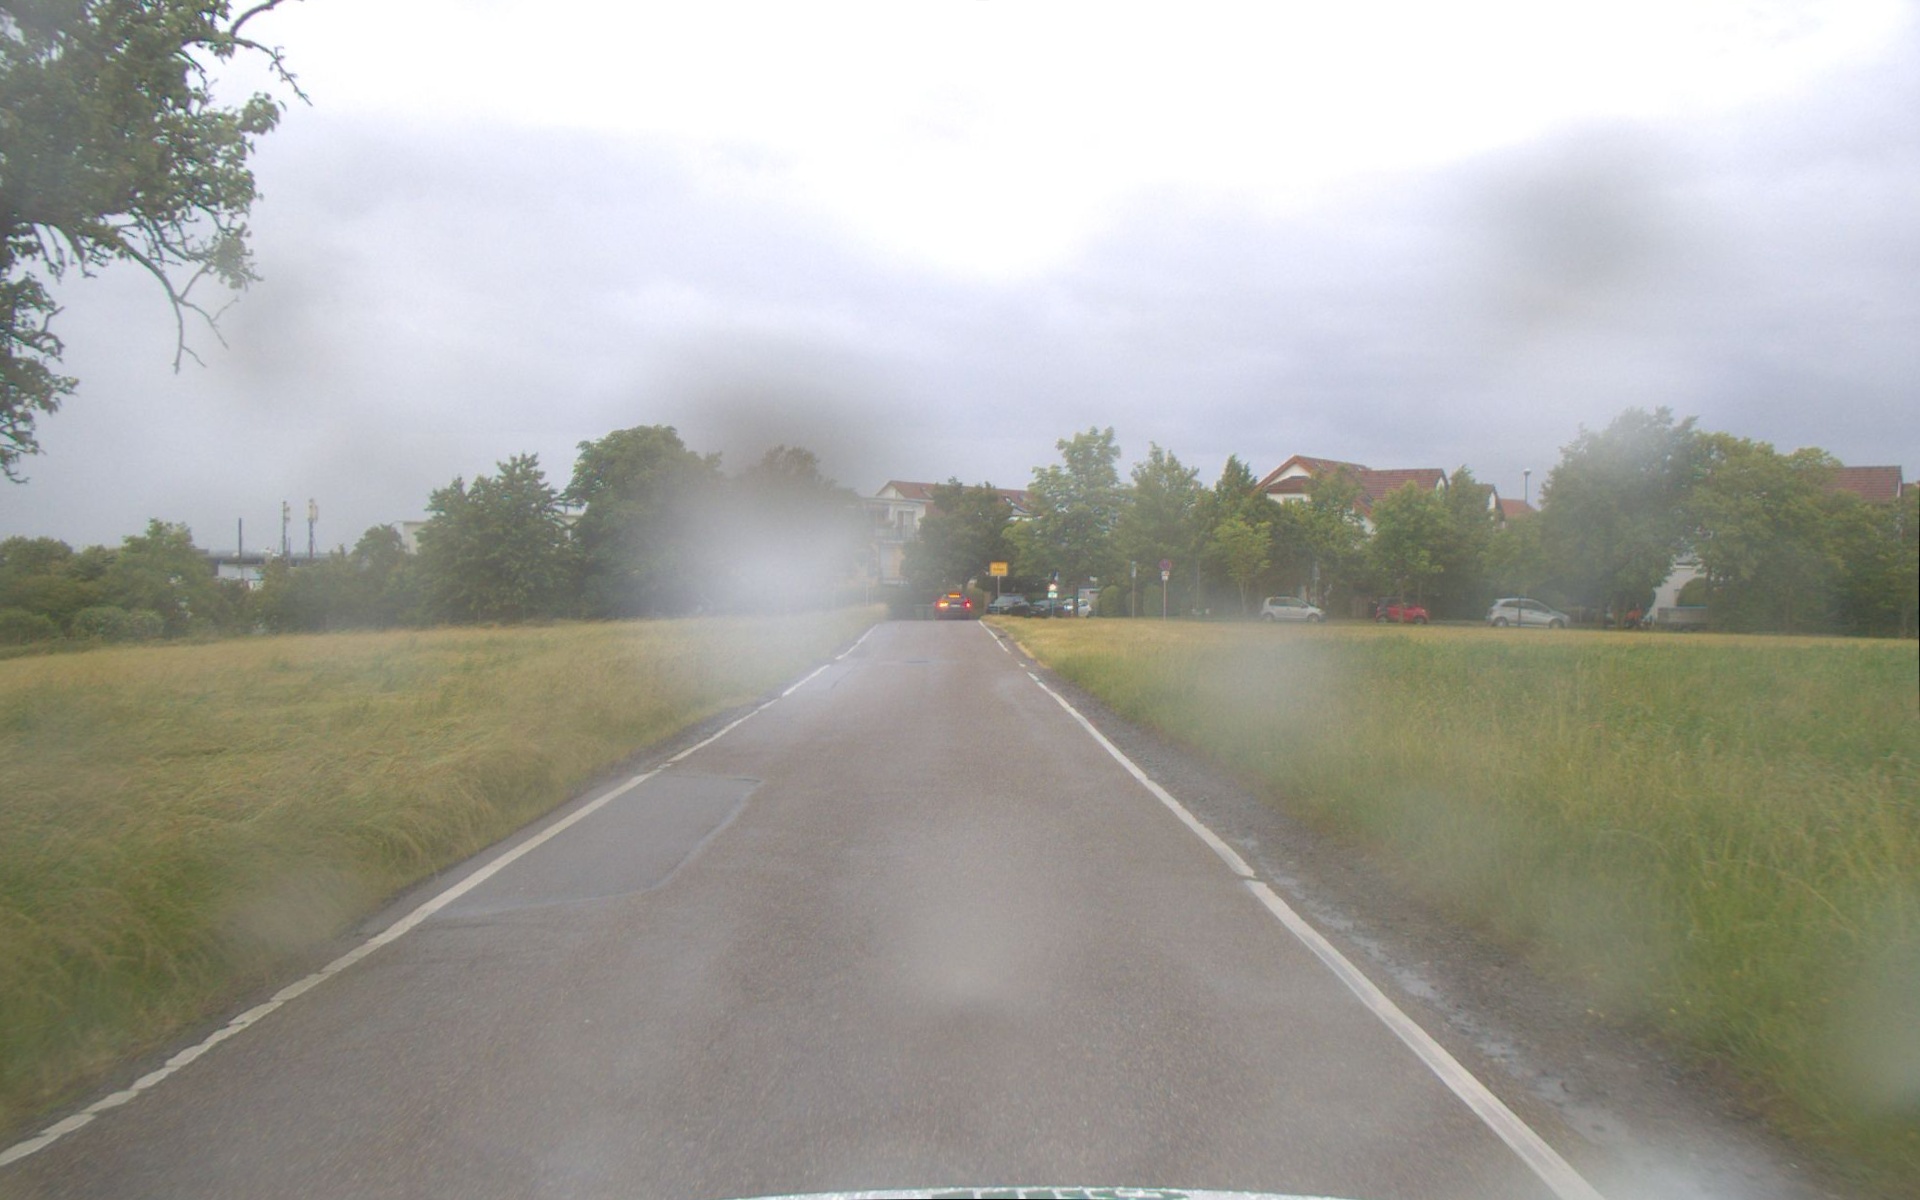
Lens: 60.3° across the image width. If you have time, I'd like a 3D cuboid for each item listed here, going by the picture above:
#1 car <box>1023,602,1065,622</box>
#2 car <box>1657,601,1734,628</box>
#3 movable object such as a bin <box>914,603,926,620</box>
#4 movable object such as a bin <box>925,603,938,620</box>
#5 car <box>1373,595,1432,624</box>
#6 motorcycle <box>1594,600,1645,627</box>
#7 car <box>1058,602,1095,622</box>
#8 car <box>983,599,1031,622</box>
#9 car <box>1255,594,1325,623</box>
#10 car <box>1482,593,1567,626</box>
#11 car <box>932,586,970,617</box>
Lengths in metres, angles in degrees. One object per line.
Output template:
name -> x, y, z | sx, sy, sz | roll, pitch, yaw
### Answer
car -> 6.218, 0.899, 121.720 | 1.604, 1.433, 3.598 | 2, 0, 29
car -> 36.932, 0.729, 83.091 | 3.246, 1.303, 1.735 | 0, 0, 11
movable object such as a bin -> -2.550, 0.714, 105.440 | 0.651, 1.092, 0.544 | -1, 0, 21
movable object such as a bin -> -1.815, 0.715, 105.162 | 0.680, 1.093, 0.602 | -1, 0, 20
car -> 23.088, 0.488, 86.305 | 2.939, 1.461, 1.554 | 0, -1, 17
motorcycle -> 33.305, 0.681, 83.575 | 2.209, 1.325, 0.972 | 1, 0, 11
car -> 8.902, 0.926, 126.377 | 1.483, 1.502, 3.266 | 2, 0, 30
car -> 3.354, 0.771, 116.743 | 1.741, 1.545, 4.132 | 2, 0, 27
car -> 17.543, 0.481, 87.861 | 3.468, 1.505, 1.680 | 0, -1, 17
car -> 28.984, 0.493, 84.982 | 3.892, 1.579, 1.853 | 1, 0, 12
car -> -0.480, 0.117, 87.933 | 1.654, 1.579, 3.691 | 0, -1, -6
